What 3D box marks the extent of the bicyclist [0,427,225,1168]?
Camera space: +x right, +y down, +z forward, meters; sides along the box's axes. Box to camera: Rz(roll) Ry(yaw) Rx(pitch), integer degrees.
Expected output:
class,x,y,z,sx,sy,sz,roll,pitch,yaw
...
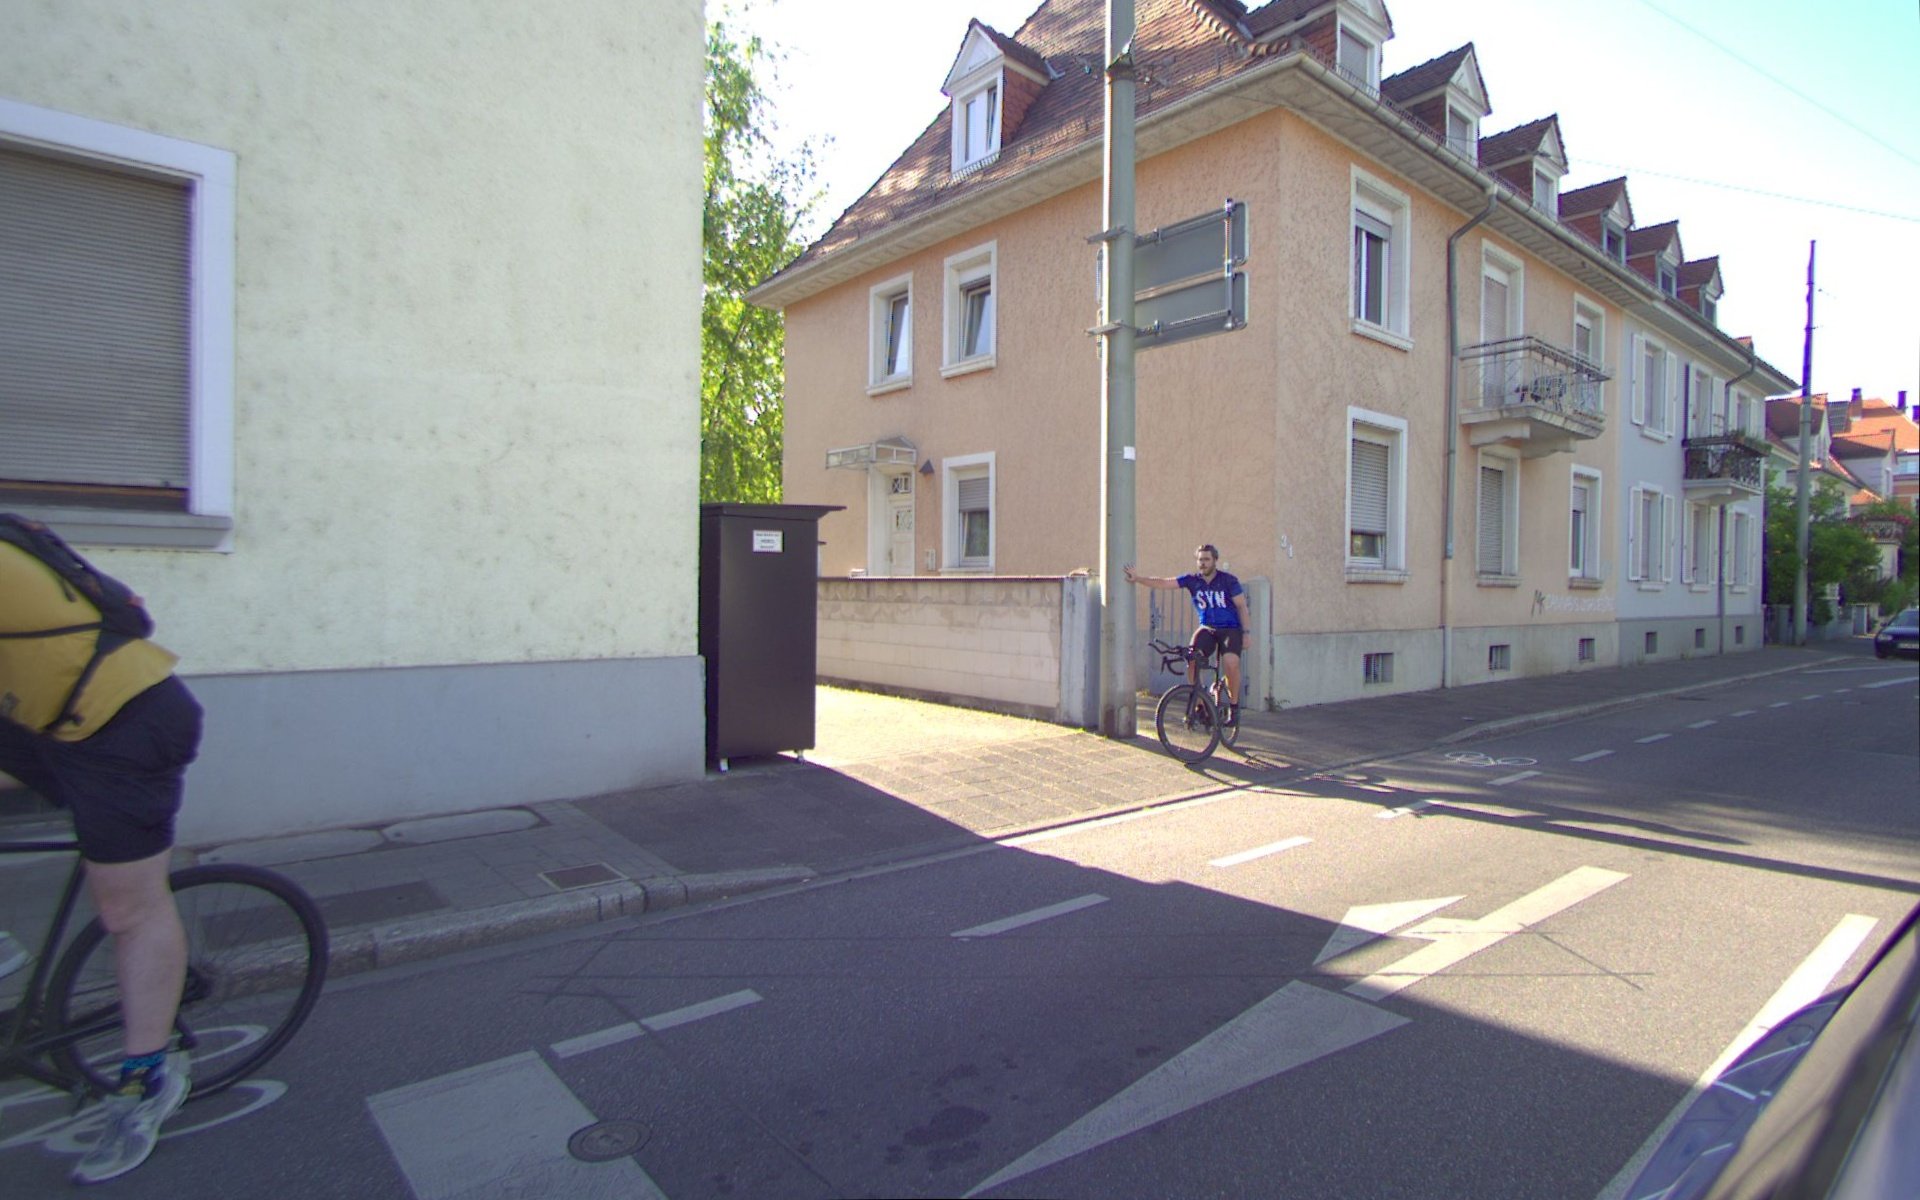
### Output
class,x,y,z,sx,sy,sz,roll,pitch,yaw
bicyclist,-2.475,0.460,2.568,0.939,1.743,0.582,0,0,-41

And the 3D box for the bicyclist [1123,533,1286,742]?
class,x,y,z,sx,sy,sz,roll,pitch,yaw
bicyclist,2.267,0.306,9.453,0.838,1.758,1.072,0,6,-40

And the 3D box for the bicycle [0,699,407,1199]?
class,x,y,z,sx,sy,sz,roll,pitch,yaw
bicycle,-2.466,0.893,2.569,1.778,1.101,0.611,0,1,-41

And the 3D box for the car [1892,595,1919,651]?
class,x,y,z,sx,sy,sz,roll,pitch,yaw
car,26.639,0.608,27.320,3.932,1.438,1.845,0,1,-42

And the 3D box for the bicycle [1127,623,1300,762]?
class,x,y,z,sx,sy,sz,roll,pitch,yaw
bicycle,2.331,0.790,9.204,1.689,1.064,0.595,0,6,-41
